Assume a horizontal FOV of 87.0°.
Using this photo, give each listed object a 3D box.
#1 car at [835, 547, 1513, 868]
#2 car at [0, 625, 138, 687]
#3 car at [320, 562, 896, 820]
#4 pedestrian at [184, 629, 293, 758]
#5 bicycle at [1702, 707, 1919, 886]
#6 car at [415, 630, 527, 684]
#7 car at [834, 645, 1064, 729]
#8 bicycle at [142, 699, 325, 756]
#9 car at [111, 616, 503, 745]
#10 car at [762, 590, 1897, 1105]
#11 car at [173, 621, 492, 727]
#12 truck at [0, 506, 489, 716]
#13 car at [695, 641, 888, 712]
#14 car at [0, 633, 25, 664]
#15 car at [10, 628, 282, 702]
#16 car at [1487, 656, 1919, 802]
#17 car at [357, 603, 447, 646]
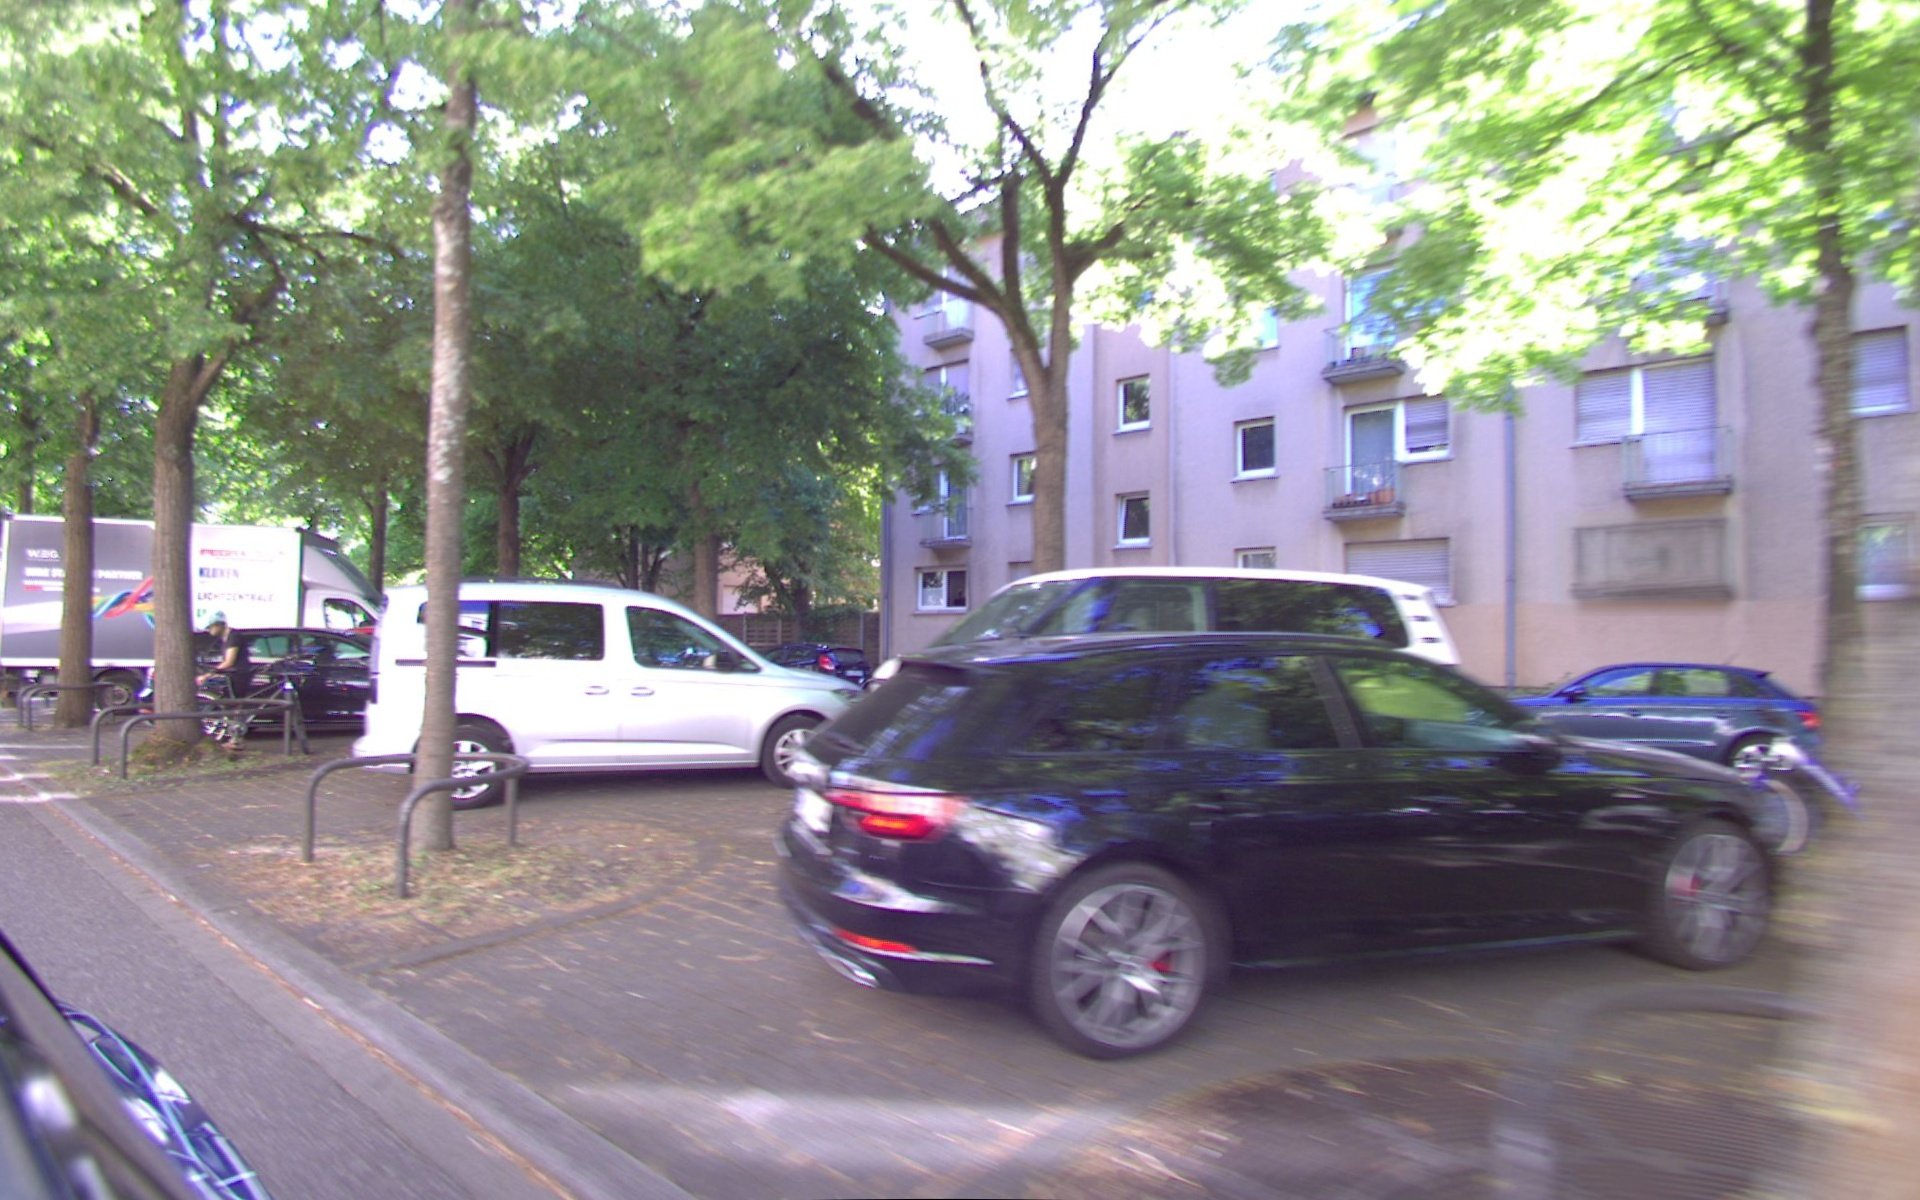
[{"bbox_3d":[1.534,0.702,7.541,4.526,1.846,2.025,2,-2,-20],"label":"car"},{"bbox_3d":[-27.304,1.661,29.942,4.262,1.684,1.843,-1,-2,-19],"label":"car"},{"bbox_3d":[-3.035,0.707,9.228,4.445,1.879,2.088,1,-2,-24],"label":"car"},{"bbox_3d":[-8.295,1.049,11.679,0.740,1.407,0.931,1,-2,-17],"label":"pedestrian"},{"bbox_3d":[5.532,1.165,6.023,1.763,0.947,0.432,-2,-1,36],"label":"bicycle"},{"bbox_3d":[-16.161,1.835,33.368,4.243,1.652,1.736,-2,-3,40],"label":"car"},{"bbox_3d":[-0.311,1.601,19.608,4.531,1.417,1.602,-2,-3,40],"label":"car"},{"bbox_3d":[-8.009,1.397,11.211,1.586,0.563,0.411,1,-2,-18],"label":"bicycle"},{"bbox_3d":[-8.383,0.992,13.432,4.038,1.518,1.738,0,-2,-17],"label":"car"},{"bbox_3d":[1.479,0.764,4.404,4.413,1.466,1.793,1,-2,-17],"label":"car"},{"bbox_3d":[-9.704,1.103,16.027,3.931,1.514,1.854,0,-2,-17],"label":"car"},{"bbox_3d":[-12.601,0.283,18.151,7.200,3.319,2.554,1,-3,-17],"label":"truck"},{"bbox_3d":[-3.869,1.692,22.997,4.333,1.446,1.748,-1,-4,35],"label":"car"},{"bbox_3d":[-49.050,2.474,50.989,1.655,1.519,3.607,-1,-2,-21],"label":"car"},{"bbox_3d":[-17.729,1.389,22.287,4.270,1.518,1.818,1,-2,-15],"label":"car"},{"bbox_3d":[8.778,1.412,12.193,3.998,1.398,1.872,-2,-4,41],"label":"car"},{"bbox_3d":[-21.117,0.945,38.273,3.947,1.523,1.735,-2,-3,41],"label":"car"}]
